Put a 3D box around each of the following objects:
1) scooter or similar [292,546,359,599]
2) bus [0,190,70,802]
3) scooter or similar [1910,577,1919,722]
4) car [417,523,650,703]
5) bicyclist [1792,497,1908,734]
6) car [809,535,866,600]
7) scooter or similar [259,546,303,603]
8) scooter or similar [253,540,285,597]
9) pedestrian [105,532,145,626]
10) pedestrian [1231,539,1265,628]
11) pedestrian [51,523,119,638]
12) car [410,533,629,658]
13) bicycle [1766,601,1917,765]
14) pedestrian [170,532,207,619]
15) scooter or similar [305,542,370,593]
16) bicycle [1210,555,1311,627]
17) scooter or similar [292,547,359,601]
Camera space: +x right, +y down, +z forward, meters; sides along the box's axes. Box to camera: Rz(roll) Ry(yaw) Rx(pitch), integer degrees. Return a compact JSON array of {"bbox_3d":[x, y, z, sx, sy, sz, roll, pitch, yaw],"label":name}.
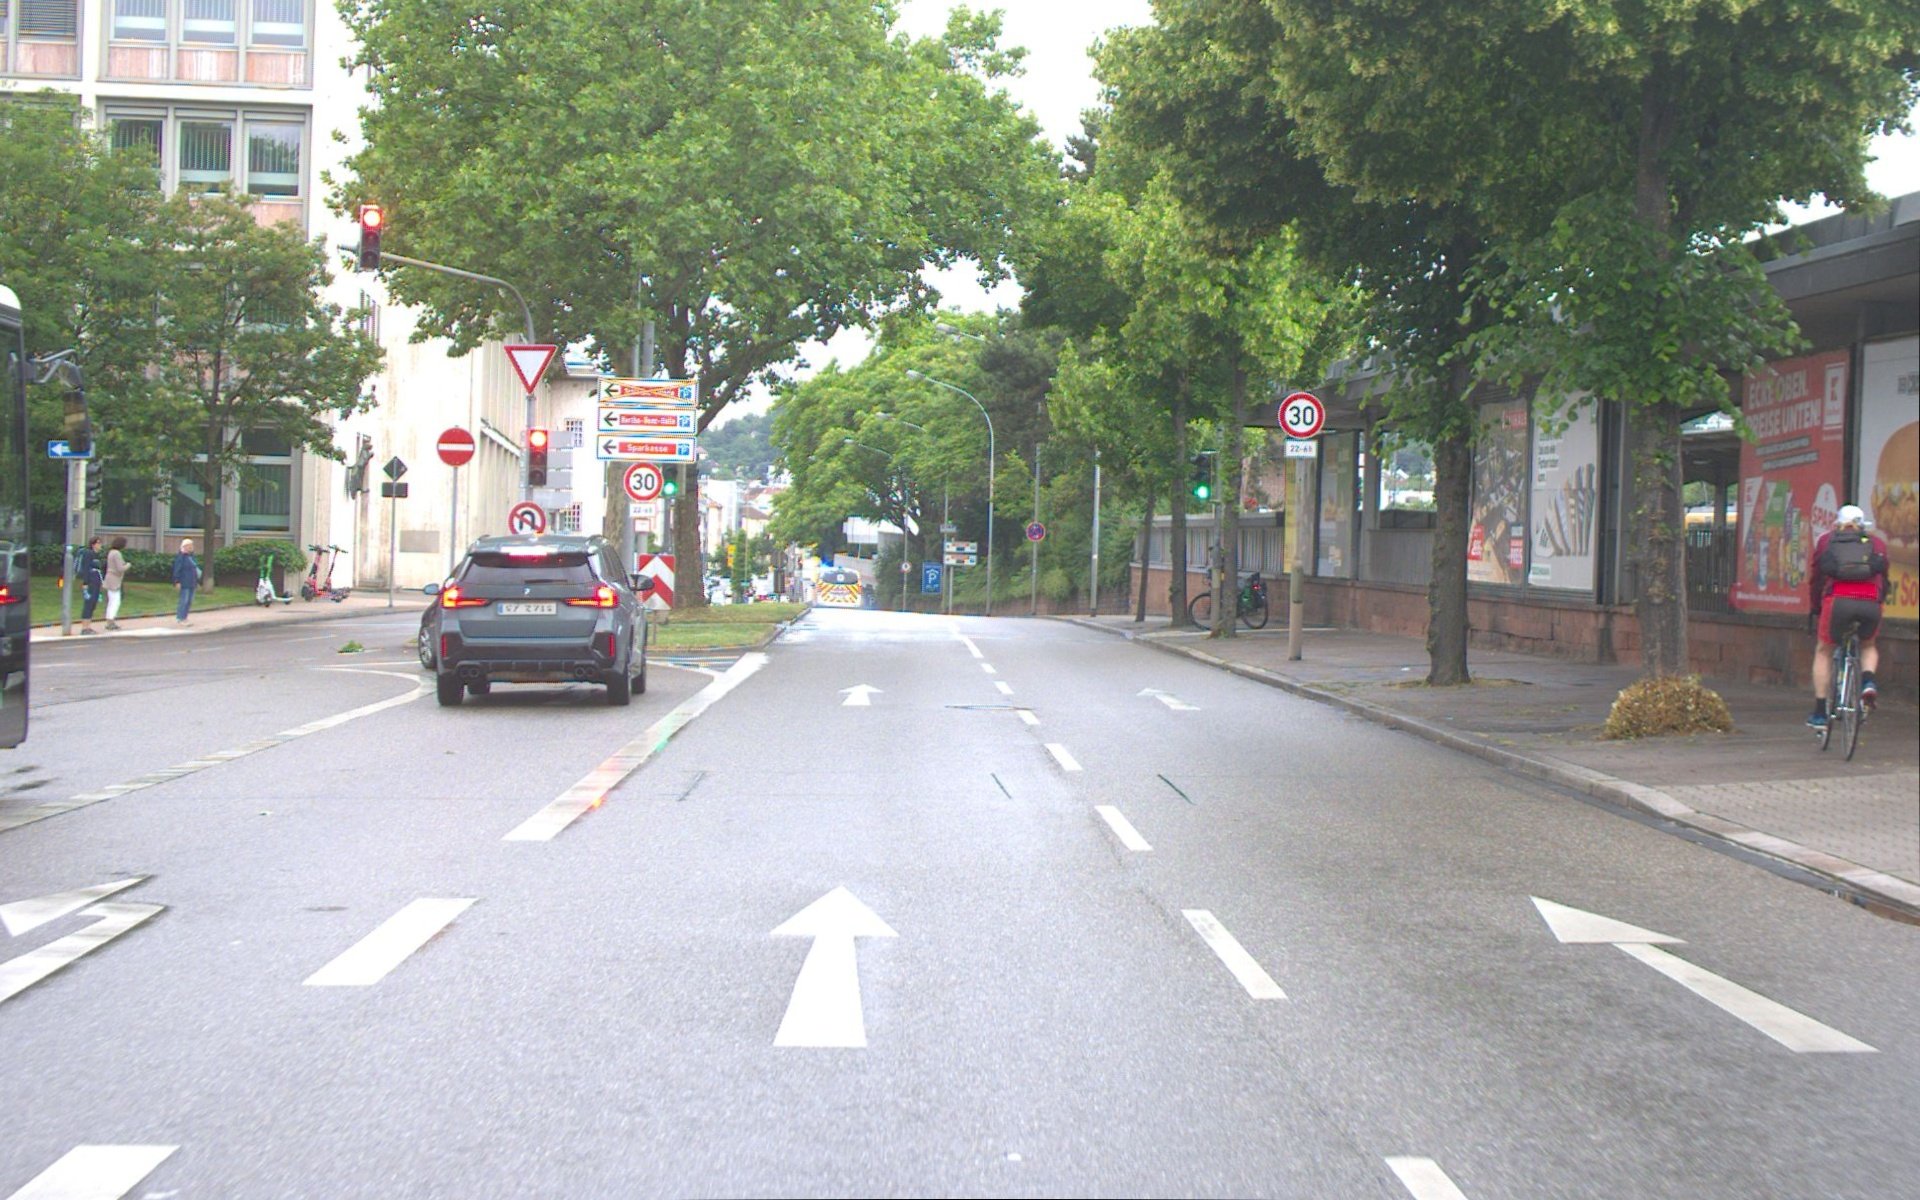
[{"bbox_3d":[-14.499,-0.623,78.585,0.608,1.188,1.525,1,1,32],"label":"scooter or similar"},{"bbox_3d":[-6.636,-0.513,14.732,2.955,3.427,12.561,1,1,-3],"label":"bus"},{"bbox_3d":[7.925,0.403,26.795,0.492,1.149,1.545,1,0,-4],"label":"scooter or similar"},{"bbox_3d":[-4.104,0.091,33.701,1.964,1.634,4.359,1,1,-3],"label":"car"},{"bbox_3d":[5.868,0.096,22.683,0.533,1.533,0.694,-1,1,-4],"label":"bicyclist"},{"bbox_3d":[-5.159,-1.382,144.005,2.264,2.647,4.001,1,1,-3],"label":"car"},{"bbox_3d":[-14.471,-0.548,73.333,0.570,1.188,1.574,1,1,2],"label":"scooter or similar"},{"bbox_3d":[-14.414,-0.659,71.717,0.488,1.163,1.502,1,1,-5],"label":"scooter or similar"},{"bbox_3d":[-15.282,-0.379,62.916,0.653,1.704,0.797,1,1,-10],"label":"pedestrian"},{"bbox_3d":[5.095,-0.293,60.750,0.457,1.563,0.392,1,1,30],"label":"pedestrian"},{"bbox_3d":[-15.727,-0.357,61.795,0.935,2.038,0.873,1,1,6],"label":"pedestrian"},{"bbox_3d":[-5.313,-0.082,41.030,1.815,1.404,4.416,0,1,-18],"label":"car"},{"bbox_3d":[5.804,0.528,22.714,0.446,1.013,1.678,-1,1,-4],"label":"bicycle"},{"bbox_3d":[-14.278,-0.463,63.634,0.653,1.597,0.925,1,1,-13],"label":"pedestrian"},{"bbox_3d":[-14.458,-0.746,79.908,0.608,1.160,1.525,1,1,32],"label":"scooter or similar"},{"bbox_3d":[5.339,-0.168,61.132,1.723,1.244,0.485,1,1,30],"label":"bicycle"},{"bbox_3d":[-14.258,-0.580,77.274,0.608,1.188,1.525,1,1,32],"label":"scooter or similar"}]
